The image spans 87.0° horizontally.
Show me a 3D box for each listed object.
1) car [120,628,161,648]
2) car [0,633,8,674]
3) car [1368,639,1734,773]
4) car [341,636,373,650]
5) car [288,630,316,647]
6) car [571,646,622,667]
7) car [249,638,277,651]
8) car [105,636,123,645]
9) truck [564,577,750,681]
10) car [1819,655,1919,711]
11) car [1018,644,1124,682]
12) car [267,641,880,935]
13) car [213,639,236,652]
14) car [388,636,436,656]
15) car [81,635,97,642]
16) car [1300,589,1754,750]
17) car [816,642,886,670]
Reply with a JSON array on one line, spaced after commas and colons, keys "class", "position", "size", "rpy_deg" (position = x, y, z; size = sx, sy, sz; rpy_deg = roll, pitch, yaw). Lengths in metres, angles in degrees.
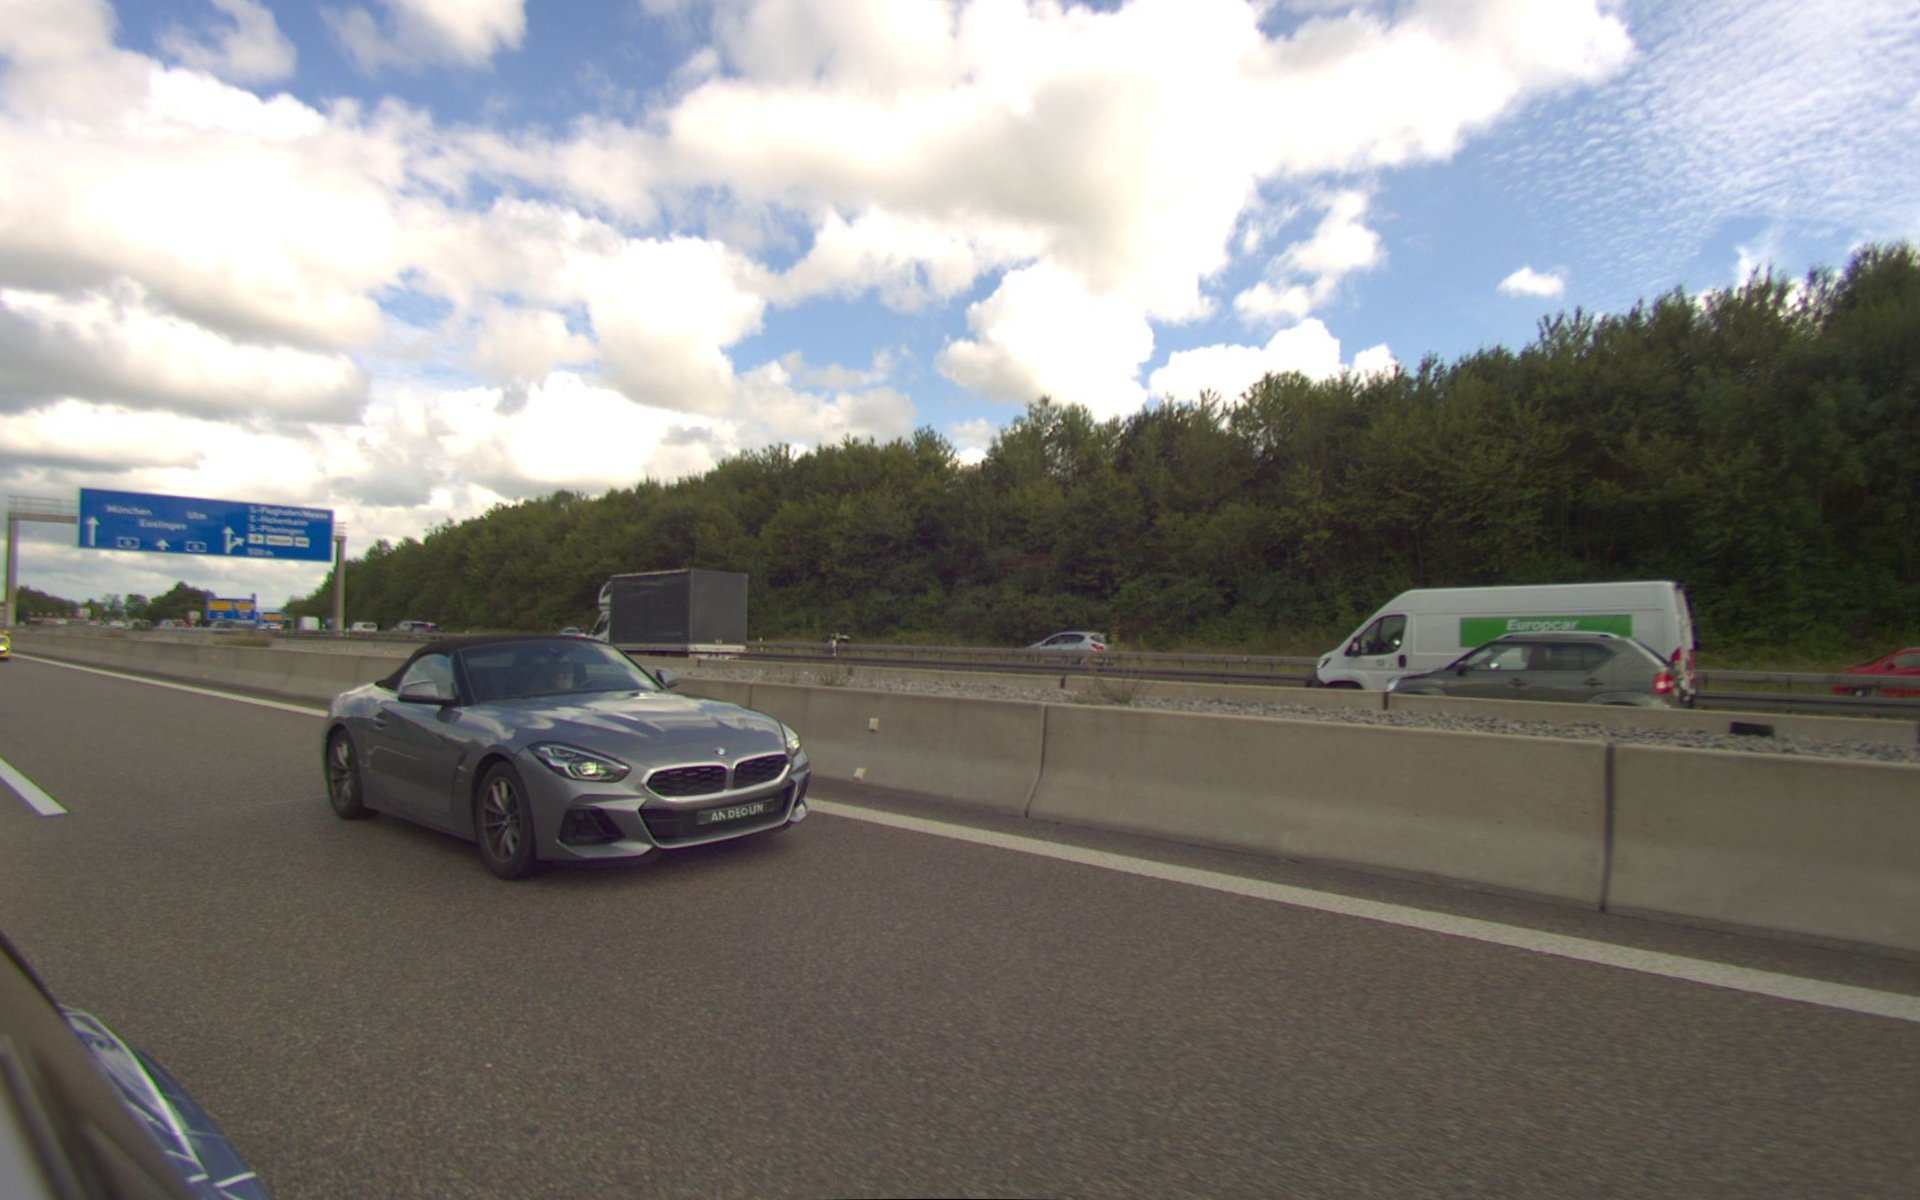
[{"class": "car", "position": [-74.128, 3.434, 91.513], "size": [5.499, 1.799, 1.815], "rpy_deg": [-2, -3, 41]}, {"class": "car", "position": [-32.902, 1.718, 33.291], "size": [4.245, 1.325, 1.788], "rpy_deg": [-2, -5, 41]}, {"class": "car", "position": [7.902, 1.311, 13.746], "size": [4.049, 1.522, 1.719], "rpy_deg": [-1, -3, 40]}, {"class": "car", "position": [-70.372, 5.026, 118.048], "size": [4.943, 1.646, 1.717], "rpy_deg": [-2, -4, 40]}, {"class": "car", "position": [-93.945, 5.543, 144.376], "size": [5.684, 2.333, 1.972], "rpy_deg": [-2, -4, 43]}, {"class": "car", "position": [-27.689, 4.284, 77.027], "size": [4.506, 1.506, 1.575], "rpy_deg": [-2, -3, 40]}, {"class": "car", "position": [-83.679, 5.343, 121.472], "size": [4.320, 1.455, 1.640], "rpy_deg": [-2, -4, 40]}, {"class": "car", "position": [-139.383, 6.686, 166.779], "size": [4.368, 1.529, 1.658], "rpy_deg": [-2, -4, 43]}, {"class": "truck", "position": [-10.734, 1.026, 35.383], "size": [7.821, 3.289, 2.329], "rpy_deg": [-1, -3, 41]}, {"class": "car", "position": [25.167, 2.173, 26.475], "size": [4.049, 1.375, 1.547], "rpy_deg": [-1, -3, 40]}, {"class": "car", "position": [4.362, 2.452, 40.080], "size": [4.049, 1.375, 1.547], "rpy_deg": [-1, -3, 40]}, {"class": "car", "position": [-2.943, 0.958, 7.006], "size": [4.939, 1.312, 1.854], "rpy_deg": [-2, -3, 41]}, {"class": "car", "position": [-99.965, 6.198, 137.538], "size": [3.997, 1.660, 1.641], "rpy_deg": [-2, -4, 40]}, {"class": "car", "position": [-45.883, 3.807, 84.666], "size": [4.766, 1.605, 1.972], "rpy_deg": [-2, -4, 42]}, {"class": "car", "position": [-171.728, 7.614, 199.525], "size": [4.245, 1.325, 1.625], "rpy_deg": [-2, -4, 41]}, {"class": "car", "position": [9.382, 1.084, 17.274], "size": [6.456, 2.289, 2.142], "rpy_deg": [-1, -3, 40]}, {"class": "car", "position": [-6.373, 3.236, 58.928], "size": [4.177, 1.506, 1.575], "rpy_deg": [-2, -3, 40]}]
